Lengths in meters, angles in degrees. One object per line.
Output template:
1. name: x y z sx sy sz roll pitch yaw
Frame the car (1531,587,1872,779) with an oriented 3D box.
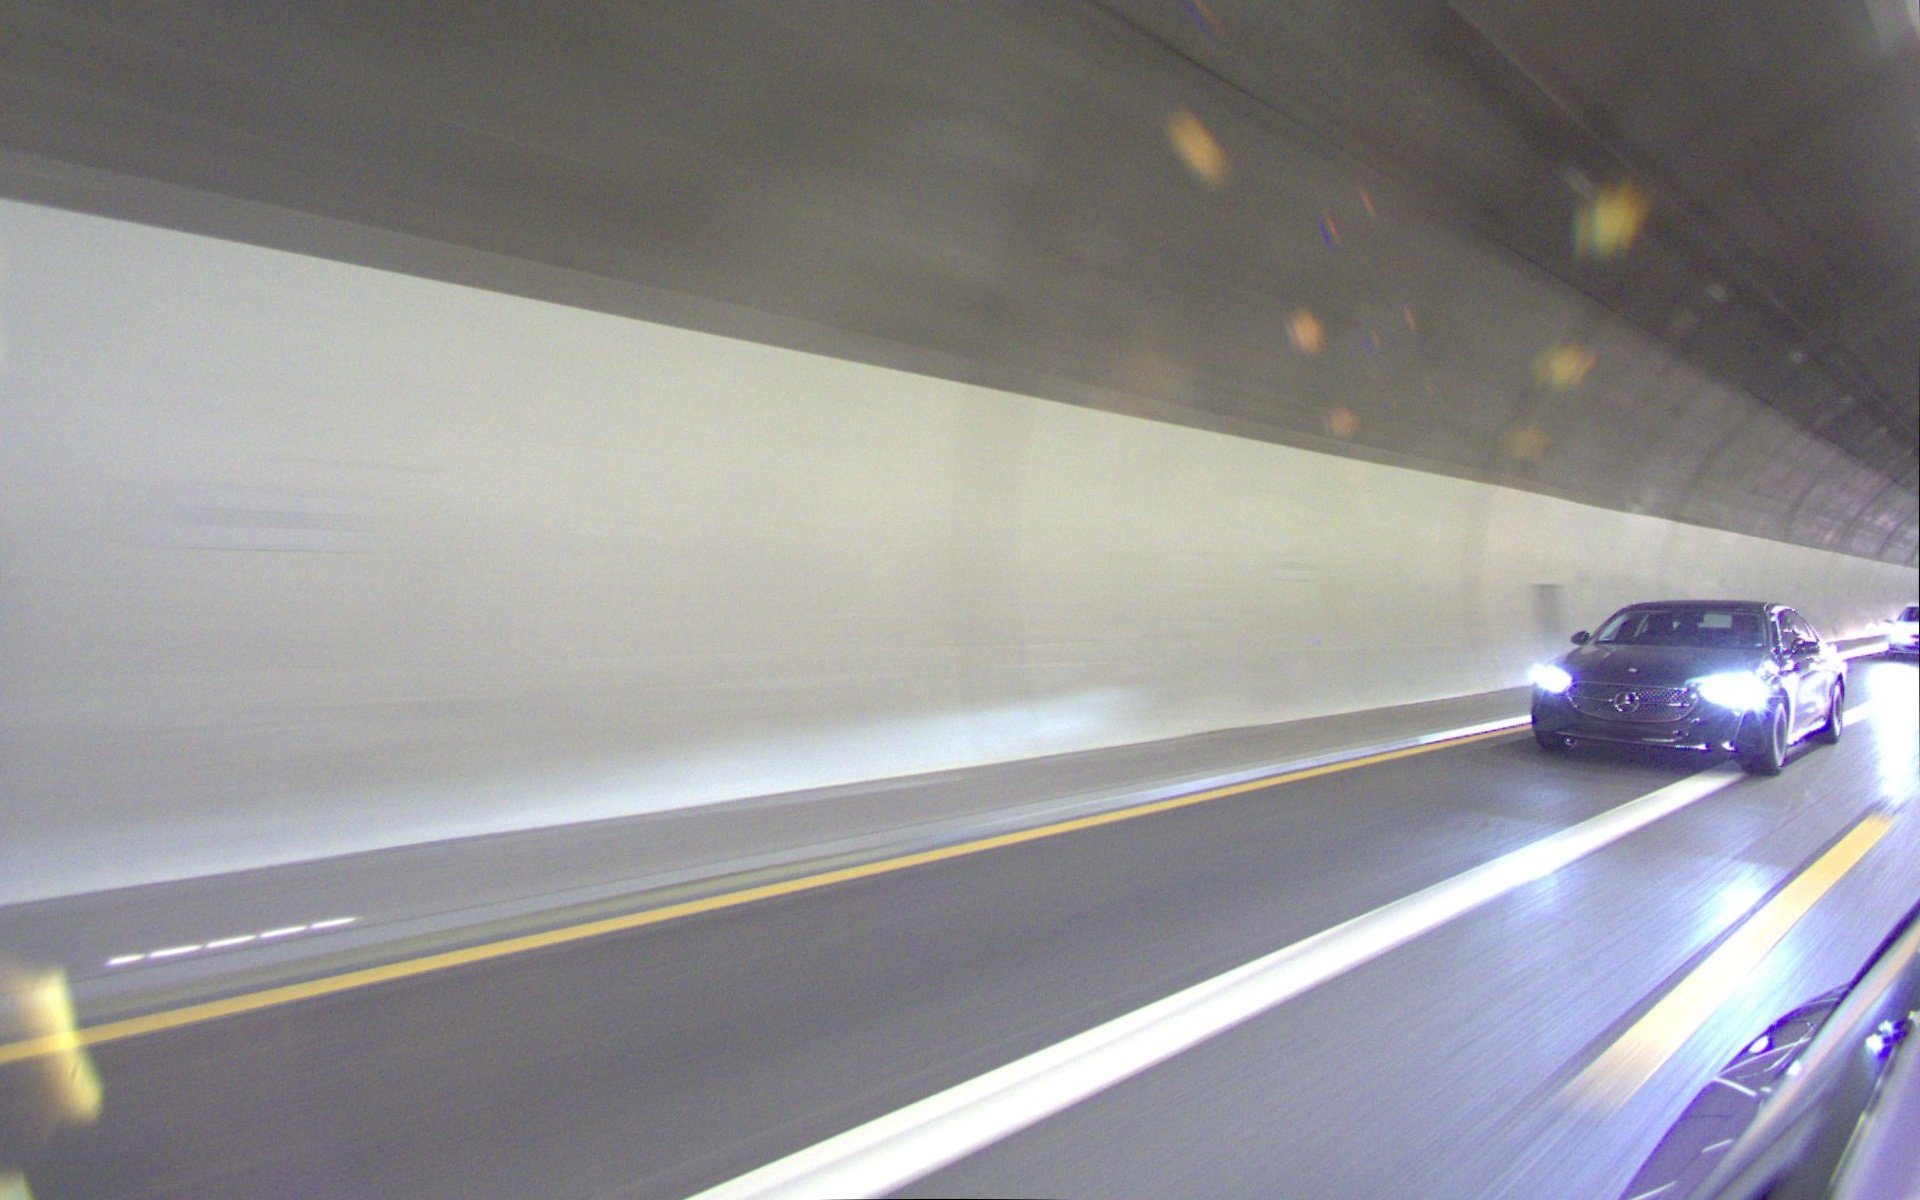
1. car: 7.521 0.636 10.090 4.443 1.496 1.824 0 0 -41

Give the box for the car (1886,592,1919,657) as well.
1. car: 25.443 0.598 25.954 4.660 1.559 1.997 -1 1 -41
